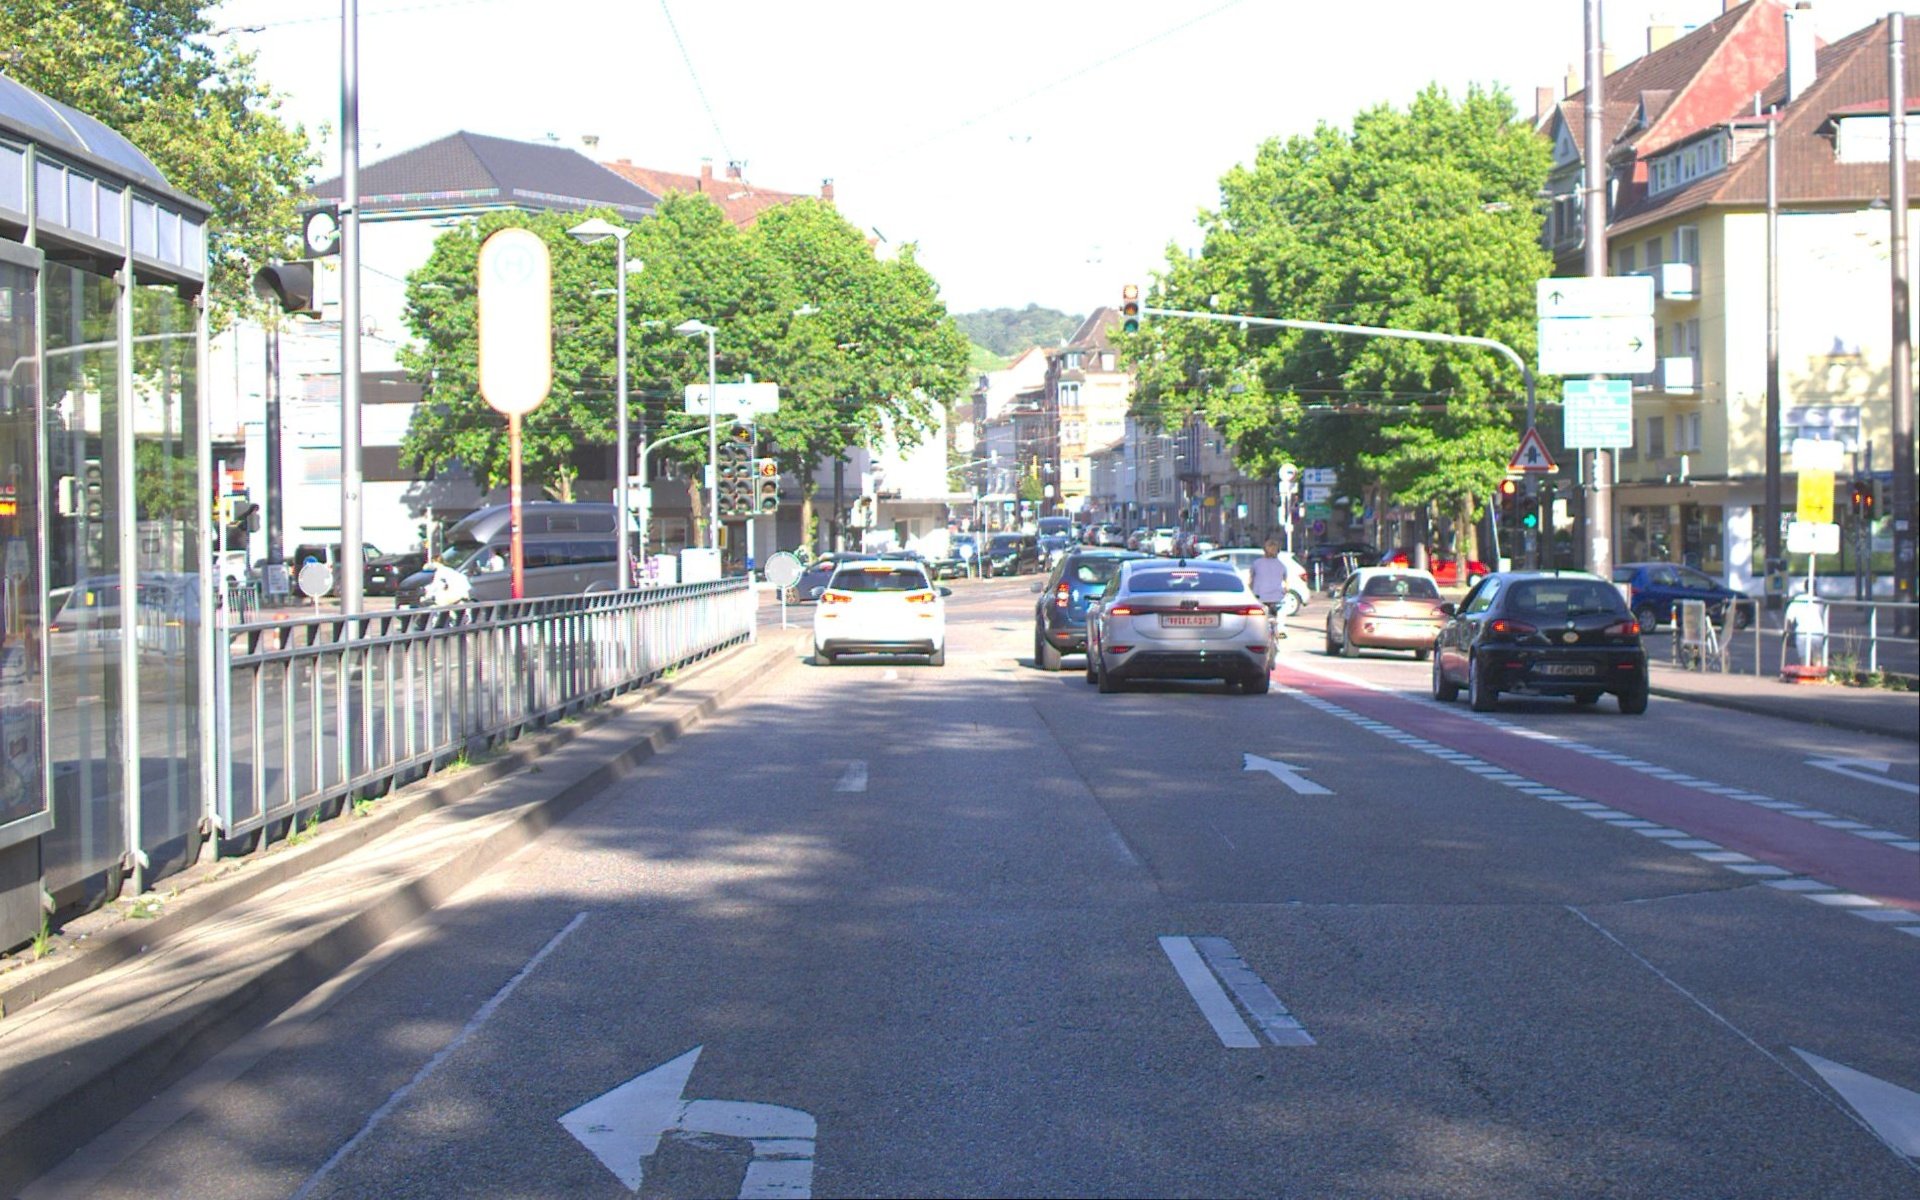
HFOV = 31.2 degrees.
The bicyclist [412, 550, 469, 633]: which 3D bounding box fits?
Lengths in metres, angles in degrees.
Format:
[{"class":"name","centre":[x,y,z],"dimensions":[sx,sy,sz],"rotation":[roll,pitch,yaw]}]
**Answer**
[{"class":"bicyclist","centre":[-8.852,-0.142,58.620],"dimensions":[0.801,1.409,0.527],"rotation":[0,1,22]}]

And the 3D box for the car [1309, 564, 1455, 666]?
[{"class":"car","centre":[6.786,0.209,55.610],"dimensions":[1.794,1.505,4.001],"rotation":[0,2,-1]}]

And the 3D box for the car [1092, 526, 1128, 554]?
[{"class":"car","centre":[10.917,-4.373,249.946],"dimensions":[2.327,2.007,4.977],"rotation":[0,1,-1]}]

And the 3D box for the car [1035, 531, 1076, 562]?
[{"class":"car","centre":[4.739,-2.653,171.361],"dimensions":[1.794,1.505,4.000],"rotation":[0,1,-2]}]

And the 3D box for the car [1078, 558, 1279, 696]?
[{"class":"car","centre":[2.435,0.262,39.393],"dimensions":[1.929,1.467,4.855],"rotation":[0,1,-1]}]

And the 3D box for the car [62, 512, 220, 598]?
[{"class":"car","centre":[-31.166,-1.719,131.045],"dimensions":[2.499,3.154,6.528],"rotation":[0,1,22]}]

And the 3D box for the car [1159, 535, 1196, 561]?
[{"class":"car","centre":[12.612,-3.027,199.538],"dimensions":[1.794,1.505,4.000],"rotation":[0,1,-1]}]

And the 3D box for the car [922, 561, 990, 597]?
[{"class":"car","centre":[-0.158,-0.907,149.318],"dimensions":[1.796,1.505,3.996],"rotation":[0,0,18]}]

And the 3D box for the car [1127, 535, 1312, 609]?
[{"class":"car","centre":[6.100,-0.667,81.195],"dimensions":[4.146,1.686,1.821],"rotation":[1,1,-3]}]

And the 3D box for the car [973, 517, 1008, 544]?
[{"class":"car","centre":[1.710,-3.923,194.260],"dimensions":[1.794,1.505,4.000],"rotation":[0,1,-2]}]

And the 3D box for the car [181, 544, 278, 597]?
[{"class":"car","centre":[-27.567,-1.133,129.824],"dimensions":[1.796,1.949,3.997],"rotation":[0,1,18]}]

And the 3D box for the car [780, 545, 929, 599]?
[{"class":"car","centre":[-2.974,-0.798,96.590],"dimensions":[3.996,1.505,1.796],"rotation":[1,1,39]}]

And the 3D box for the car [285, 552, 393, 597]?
[{"class":"car","centre":[-22.925,-0.958,127.073],"dimensions":[1.797,1.643,4.004],"rotation":[0,1,29]}]

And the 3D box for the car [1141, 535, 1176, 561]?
[{"class":"car","centre":[11.854,-3.124,205.697],"dimensions":[1.794,1.505,4.000],"rotation":[0,1,-1]}]

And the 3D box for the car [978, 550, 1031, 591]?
[{"class":"car","centre":[2.038,-1.349,156.753],"dimensions":[1.795,1.820,3.998],"rotation":[0,1,10]}]

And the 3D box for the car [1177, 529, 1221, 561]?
[{"class":"car","centre":[13.395,-3.075,193.010],"dimensions":[2.105,1.770,4.342],"rotation":[0,1,-1]}]

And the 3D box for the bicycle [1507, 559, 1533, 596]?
[{"class":"bicycle","centre":[17.025,-0.681,104.576],"dimensions":[0.609,1.104,1.800],"rotation":[0,1,4]}]

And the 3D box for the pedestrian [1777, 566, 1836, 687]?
[{"class":"pedestrian","centre":[11.252,0.348,45.712],"dimensions":[0.648,1.558,0.631],"rotation":[3,1,18]}]

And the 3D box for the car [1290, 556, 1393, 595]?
[{"class":"car","centre":[15.016,-0.983,135.225],"dimensions":[3.989,1.505,1.799],"rotation":[-1,1,-42]}]

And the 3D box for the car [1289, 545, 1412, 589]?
[{"class":"car","centre":[13.743,-1.159,121.008],"dimensions":[3.986,1.505,1.800],"rotation":[0,1,-6]}]

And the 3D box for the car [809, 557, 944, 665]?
[{"class":"car","centre":[-1.169,0.124,48.410],"dimensions":[1.808,1.447,4.000],"rotation":[0,1,-1]}]

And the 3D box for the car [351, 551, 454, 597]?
[{"class":"car","centre":[-20.460,-0.970,126.370],"dimensions":[1.923,1.643,4.176],"rotation":[0,1,20]}]

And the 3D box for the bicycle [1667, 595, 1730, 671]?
[{"class":"bicycle","centre":[10.676,0.466,49.742],"dimensions":[0.498,1.071,1.800],"rotation":[1,0,-1]}]

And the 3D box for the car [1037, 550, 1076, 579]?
[{"class":"car","centre":[5.028,-1.861,179.566],"dimensions":[1.794,1.505,4.000],"rotation":[0,1,-2]}]

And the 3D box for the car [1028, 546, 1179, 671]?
[{"class":"car","centre":[1.904,0.083,46.695],"dimensions":[1.800,1.632,4.045],"rotation":[0,1,-1]}]

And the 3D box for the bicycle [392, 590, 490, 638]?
[{"class":"bicycle","centre":[-8.853,0.232,58.624],"dimensions":[1.613,0.813,0.527],"rotation":[0,1,22]}]

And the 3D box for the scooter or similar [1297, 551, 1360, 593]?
[{"class":"scooter or similar","centre":[11.206,-0.858,104.647],"dimensions":[1.949,1.276,0.552],"rotation":[0,1,41]}]

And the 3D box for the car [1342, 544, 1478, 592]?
[{"class":"car","centre":[14.476,-1.022,110.667],"dimensions":[3.986,1.505,1.800],"rotation":[0,1,-9]}]

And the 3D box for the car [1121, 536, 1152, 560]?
[{"class":"car","centre":[11.536,-3.397,224.933],"dimensions":[1.794,1.517,4.000],"rotation":[0,1,-1]}]

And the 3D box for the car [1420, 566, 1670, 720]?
[{"class":"car","centre":[5.948,0.397,35.373],"dimensions":[1.800,1.434,4.045],"rotation":[1,1,-1]}]

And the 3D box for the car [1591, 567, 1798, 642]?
[{"class":"car","centre":[15.099,0.068,70.639],"dimensions":[3.987,1.505,1.800],"rotation":[0,1,-30]}]

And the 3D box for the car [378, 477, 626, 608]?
[{"class":"car","centre":[-9.940,-1.227,74.553],"dimensions":[5.013,2.733,2.074],"rotation":[1,0,-17]}]

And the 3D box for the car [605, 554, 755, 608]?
[{"class":"car","centre":[-6.181,-0.410,75.768],"dimensions":[2.902,1.158,2.074],"rotation":[1,0,-17]}]

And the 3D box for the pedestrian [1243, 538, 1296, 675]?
[{"class":"pedestrian","centre":[4.236,0.082,47.078],"dimensions":[0.657,1.864,0.678],"rotation":[0,1,-1]}]
